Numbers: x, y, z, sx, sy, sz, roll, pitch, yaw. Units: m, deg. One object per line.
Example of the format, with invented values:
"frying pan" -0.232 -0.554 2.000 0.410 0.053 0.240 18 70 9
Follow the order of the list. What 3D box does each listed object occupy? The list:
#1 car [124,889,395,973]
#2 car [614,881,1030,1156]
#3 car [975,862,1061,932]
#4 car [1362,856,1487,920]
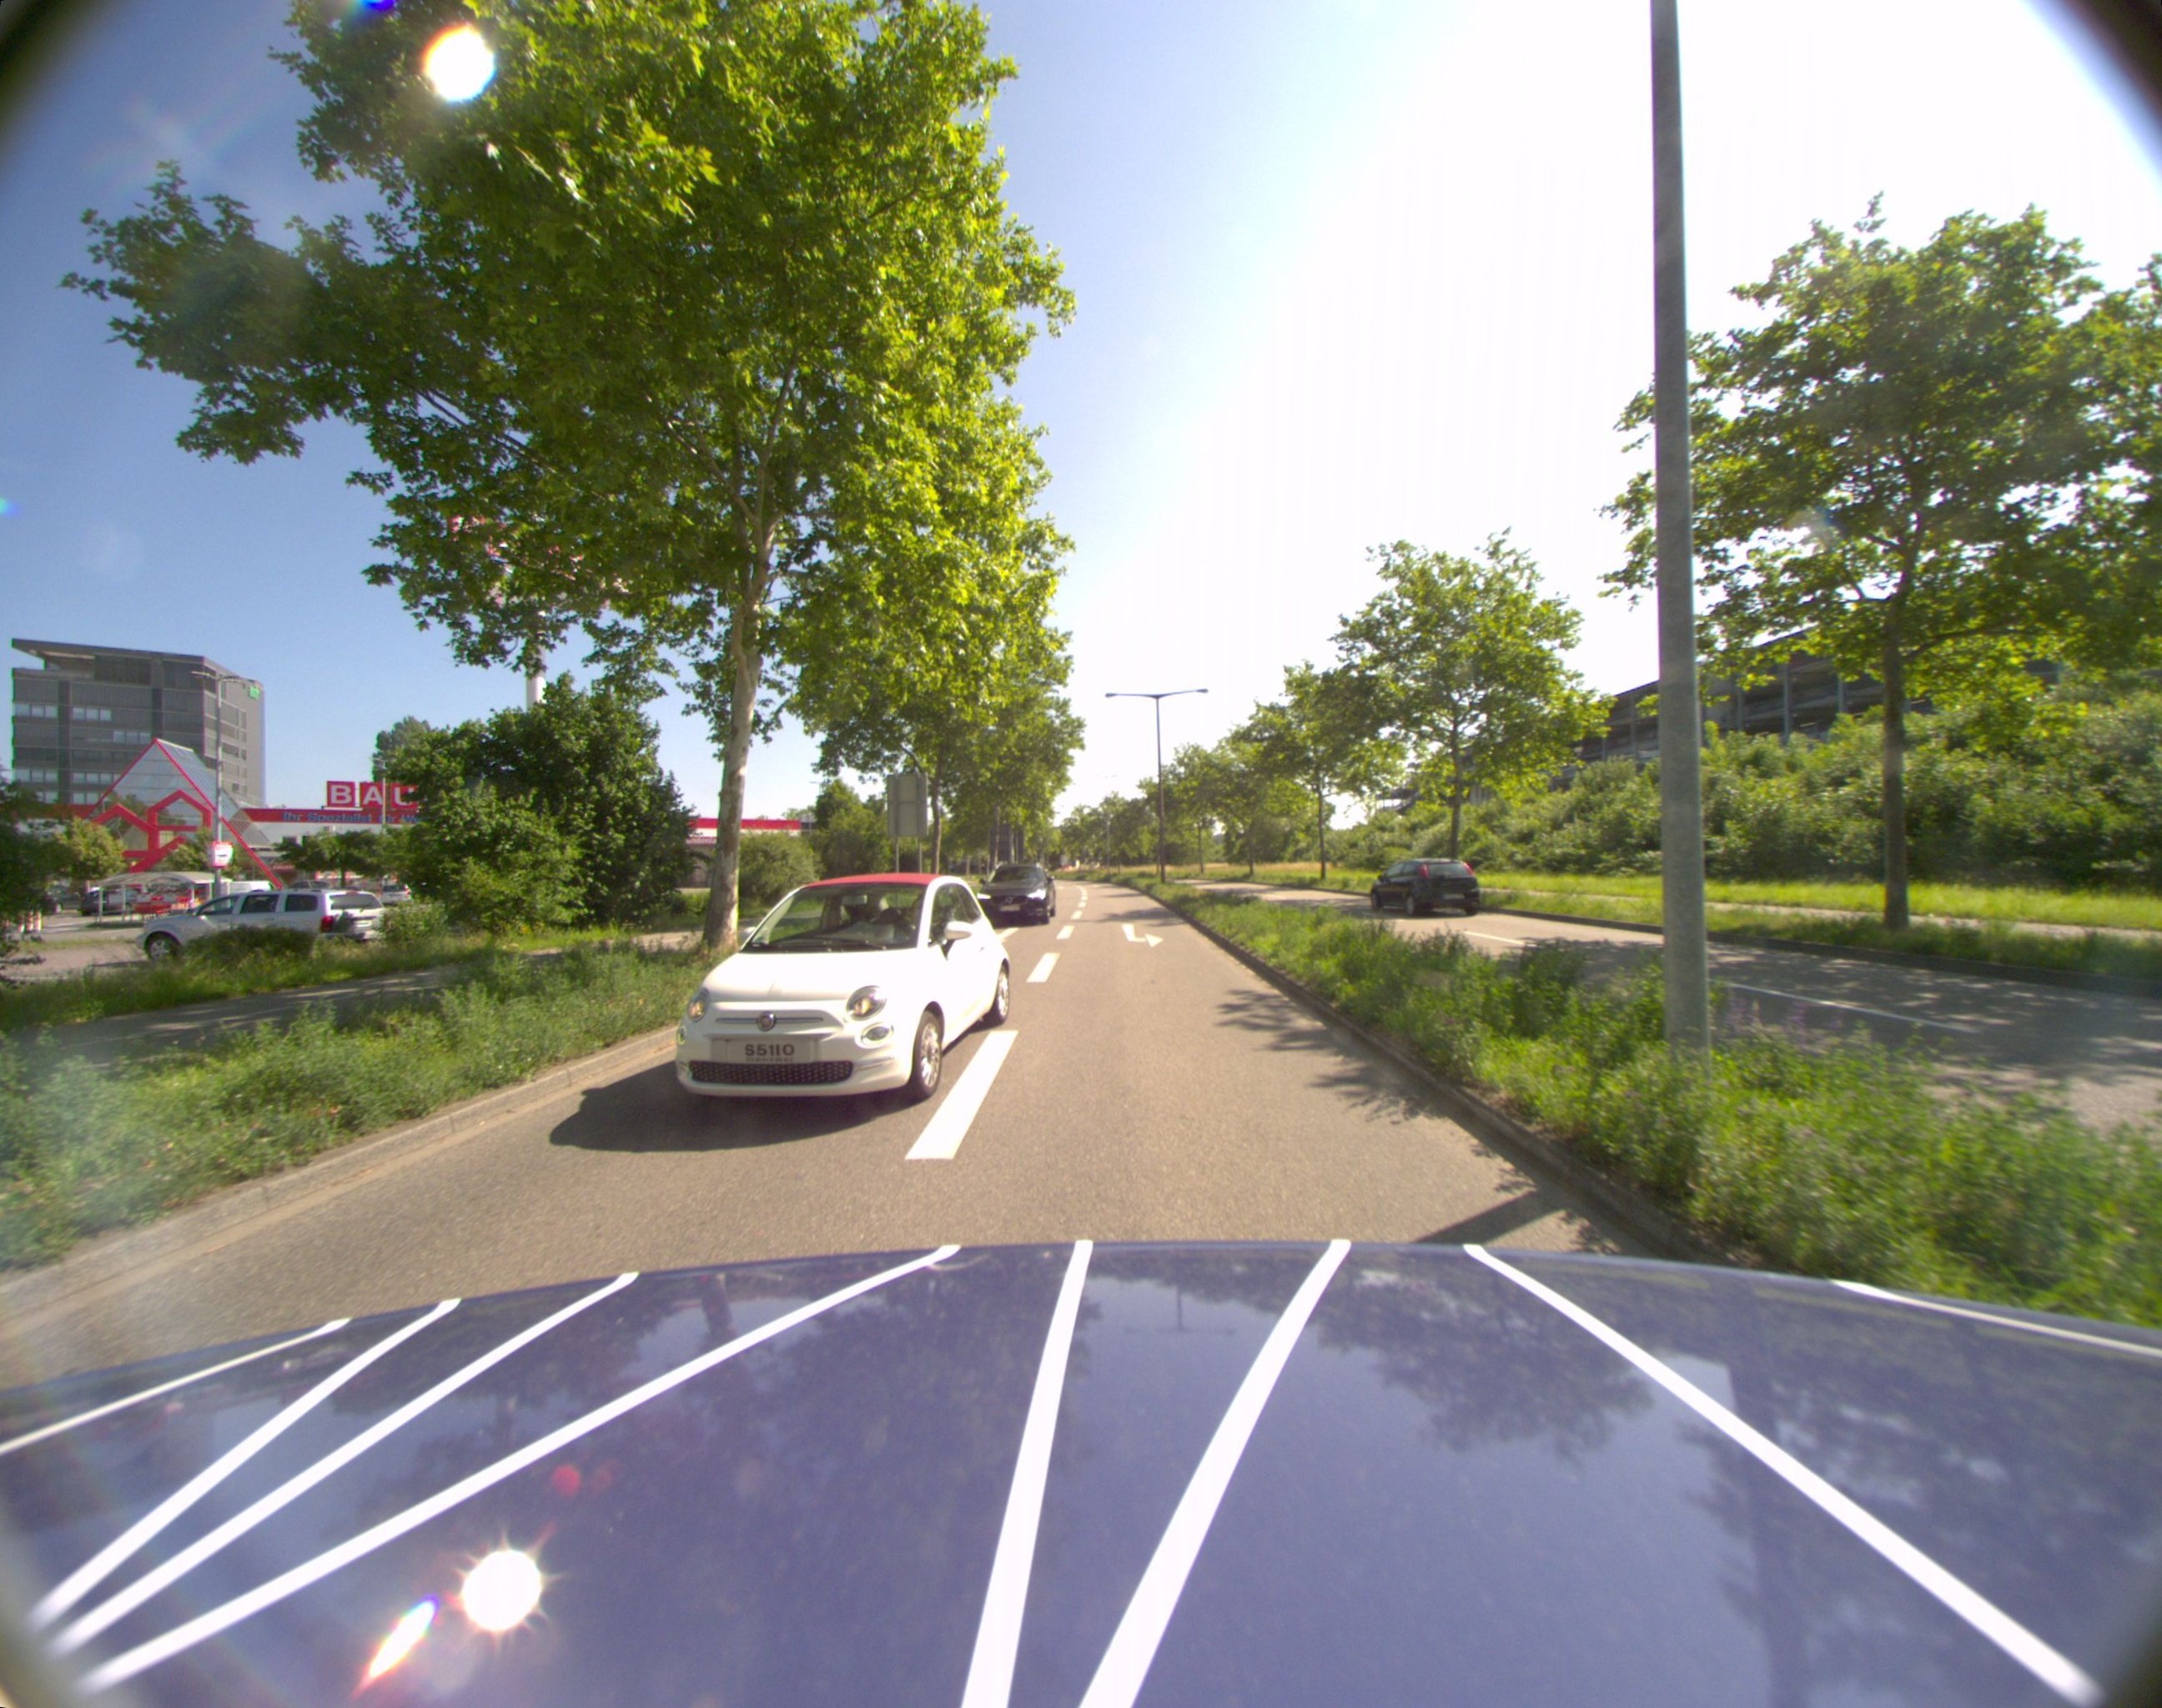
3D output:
"car" -21.327 1.965 19.884 4.980 1.805 1.807 -2 0 -1
"car" -1.673 1.032 6.195 1.664 1.428 3.522 -2 0 10
"car" -1.640 1.100 21.343 1.924 1.613 4.565 -2 0 1
"car" 9.042 0.832 20.362 1.574 1.461 3.927 -2 0 1
